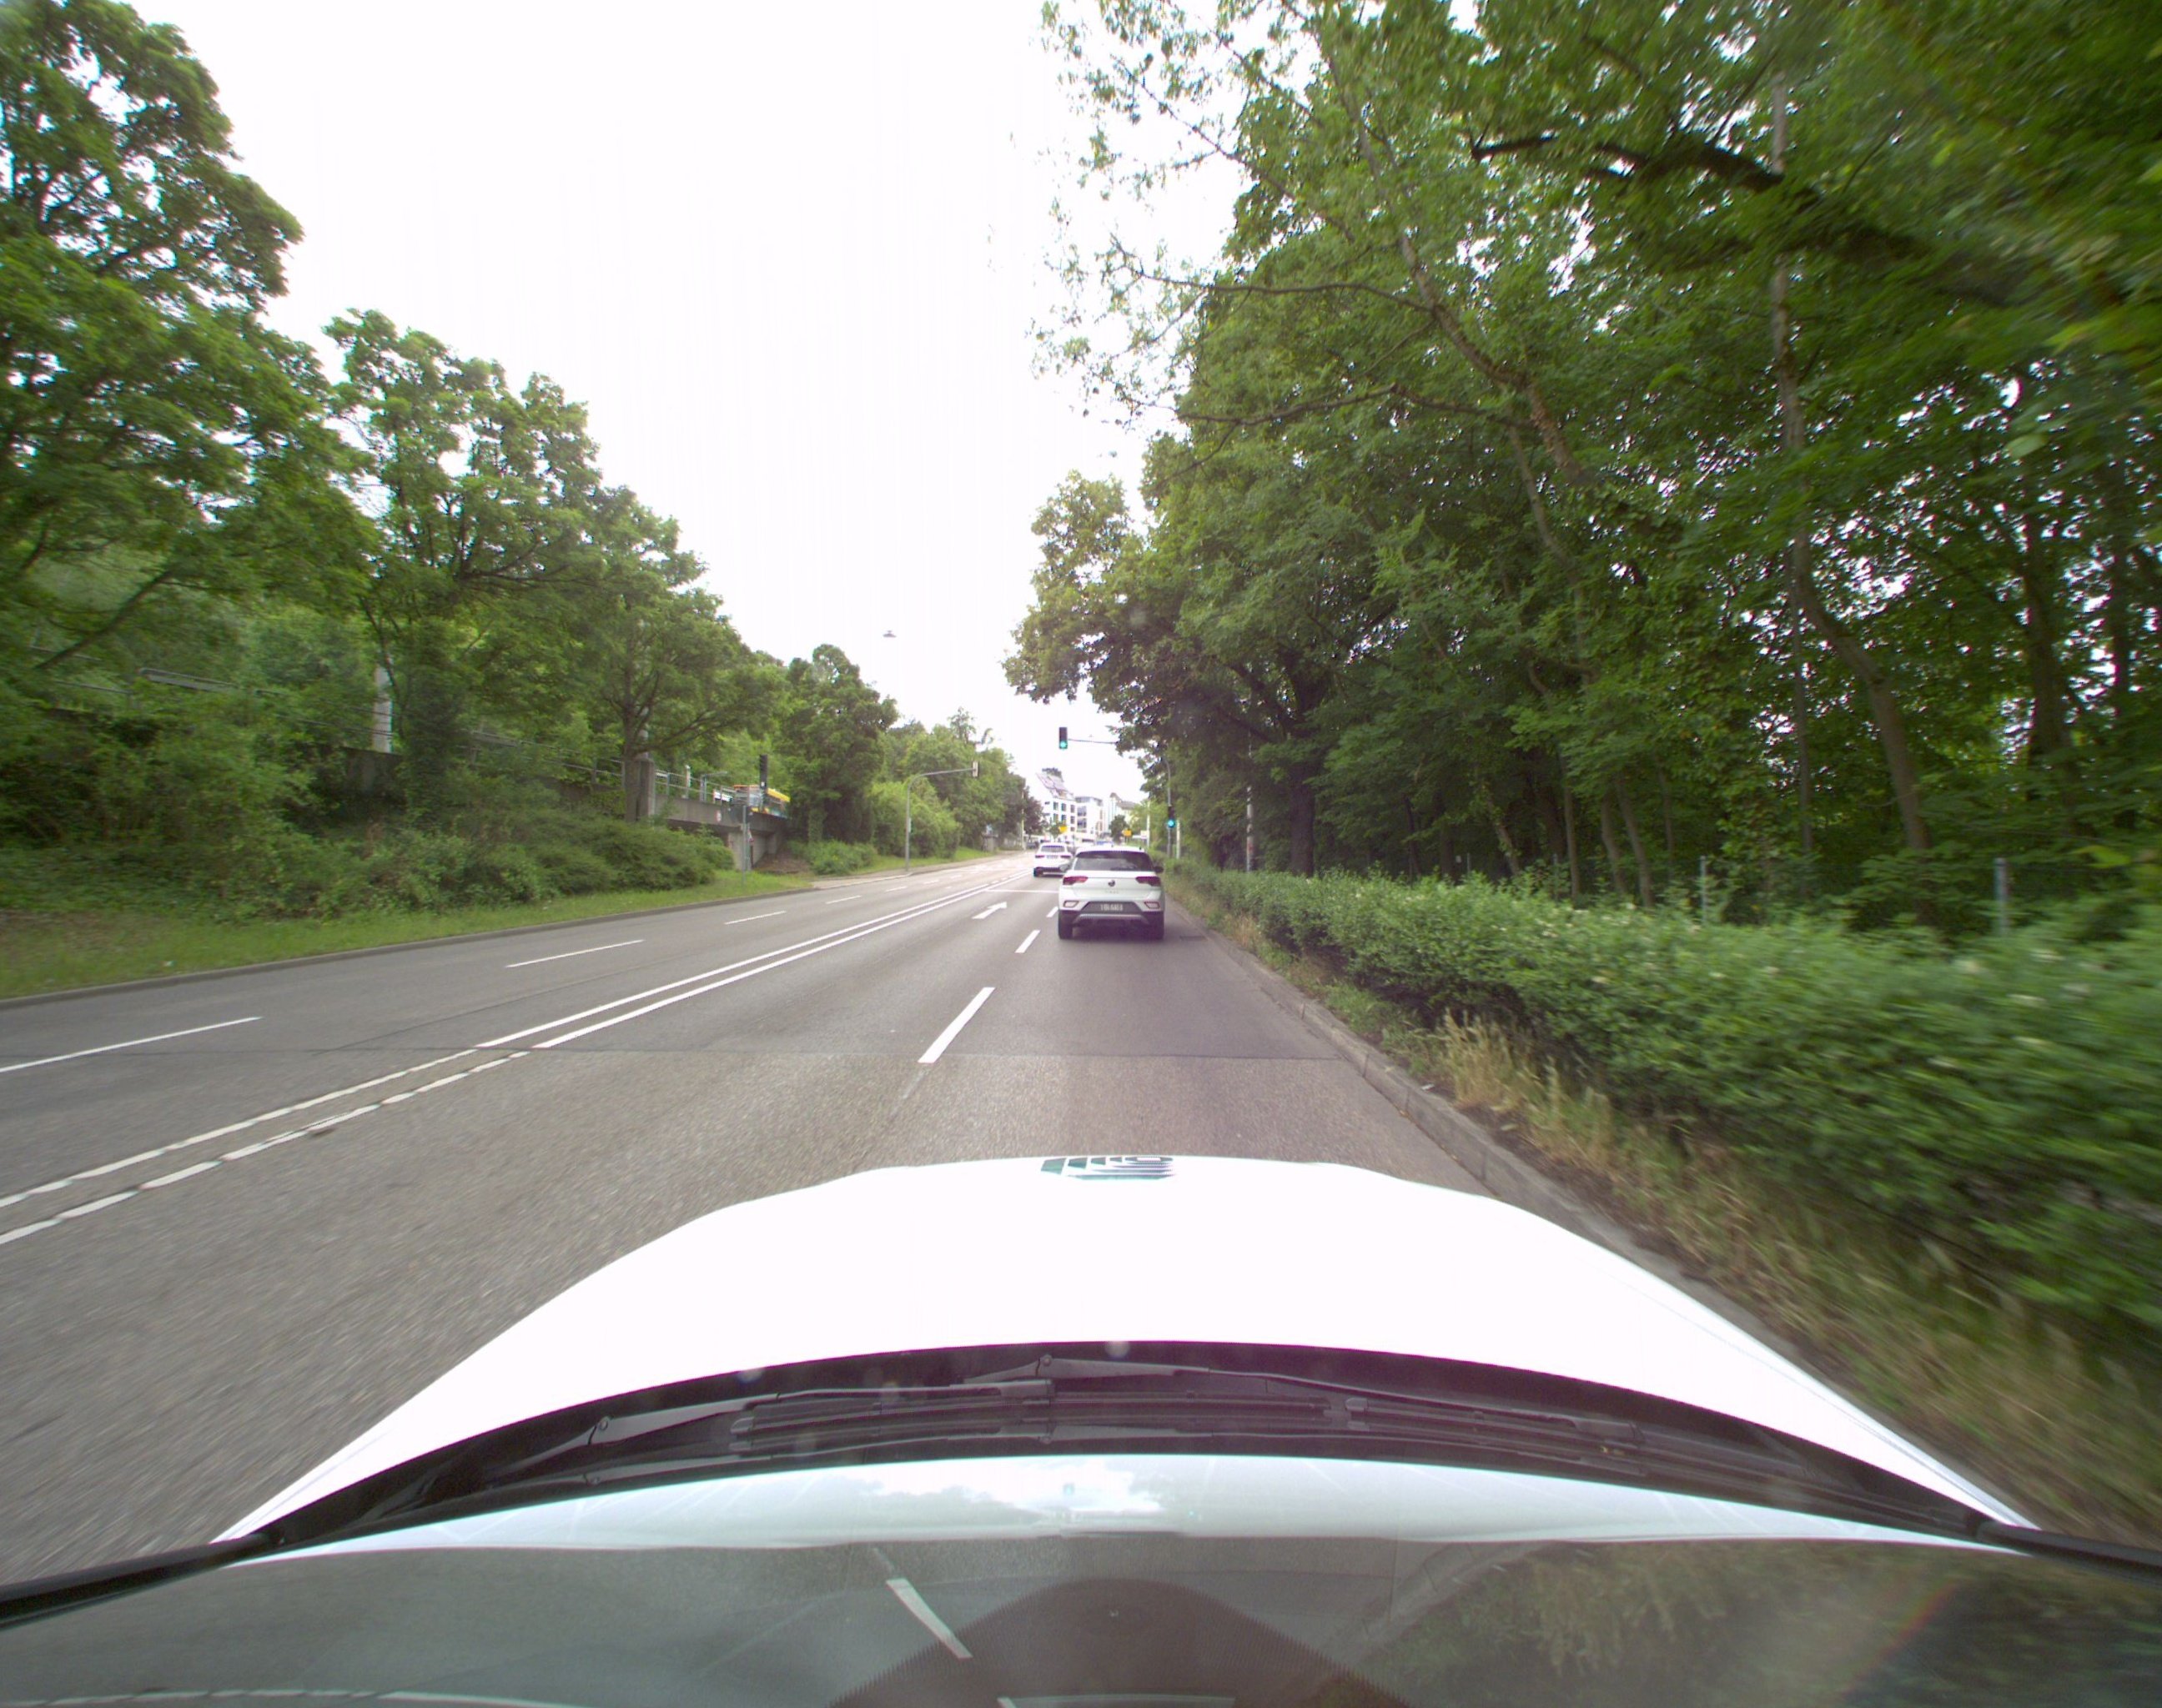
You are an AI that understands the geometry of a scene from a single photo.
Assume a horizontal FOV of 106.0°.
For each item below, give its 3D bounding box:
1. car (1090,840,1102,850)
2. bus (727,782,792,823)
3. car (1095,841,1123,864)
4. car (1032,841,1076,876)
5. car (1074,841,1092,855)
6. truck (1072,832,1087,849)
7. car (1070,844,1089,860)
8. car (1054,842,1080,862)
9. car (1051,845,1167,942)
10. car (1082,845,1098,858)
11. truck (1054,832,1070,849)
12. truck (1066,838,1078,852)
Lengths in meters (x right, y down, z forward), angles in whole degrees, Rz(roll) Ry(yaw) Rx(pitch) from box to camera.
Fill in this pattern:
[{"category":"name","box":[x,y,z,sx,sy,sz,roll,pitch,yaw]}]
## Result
[{"category":"car","box":[2.390,-1.475,128.715,1.822,1.526,4.002,-1,1,2]},{"category":"bus","box":[-26.123,-4.088,66.536,2.535,2.789,7.933,-1,-1,-4]},{"category":"car","box":[1.901,-0.130,55.165,1.822,1.526,4.002,-1,1,2]},{"category":"car","box":[-1.301,0.185,40.299,1.911,1.669,4.002,-1,1,1]},{"category":"car","box":[0.241,-0.637,91.575,1.822,1.526,4.002,-1,1,2]},{"category":"truck","box":[-0.208,-2.301,138.468,2.353,2.782,4.480,-1,1,1]},{"category":"car","box":[-0.144,-0.246,82.083,1.822,1.526,4.002,-1,1,2]},{"category":"car","box":[-1.093,-0.214,63.835,1.822,1.497,4.002,-1,1,2]},{"category":"car","box":[0.501,0.601,14.894,1.822,1.526,4.002,0,1,1]},{"category":"car","box":[1.108,-0.292,99.407,1.822,1.526,4.002,-1,1,2]},{"category":"truck","box":[-3.108,-2.193,133.873,2.353,2.706,4.480,-1,1,1]},{"category":"truck","box":[-1.974,-2.119,183.914,2.284,3.051,6.985,-1,0,3]}]
